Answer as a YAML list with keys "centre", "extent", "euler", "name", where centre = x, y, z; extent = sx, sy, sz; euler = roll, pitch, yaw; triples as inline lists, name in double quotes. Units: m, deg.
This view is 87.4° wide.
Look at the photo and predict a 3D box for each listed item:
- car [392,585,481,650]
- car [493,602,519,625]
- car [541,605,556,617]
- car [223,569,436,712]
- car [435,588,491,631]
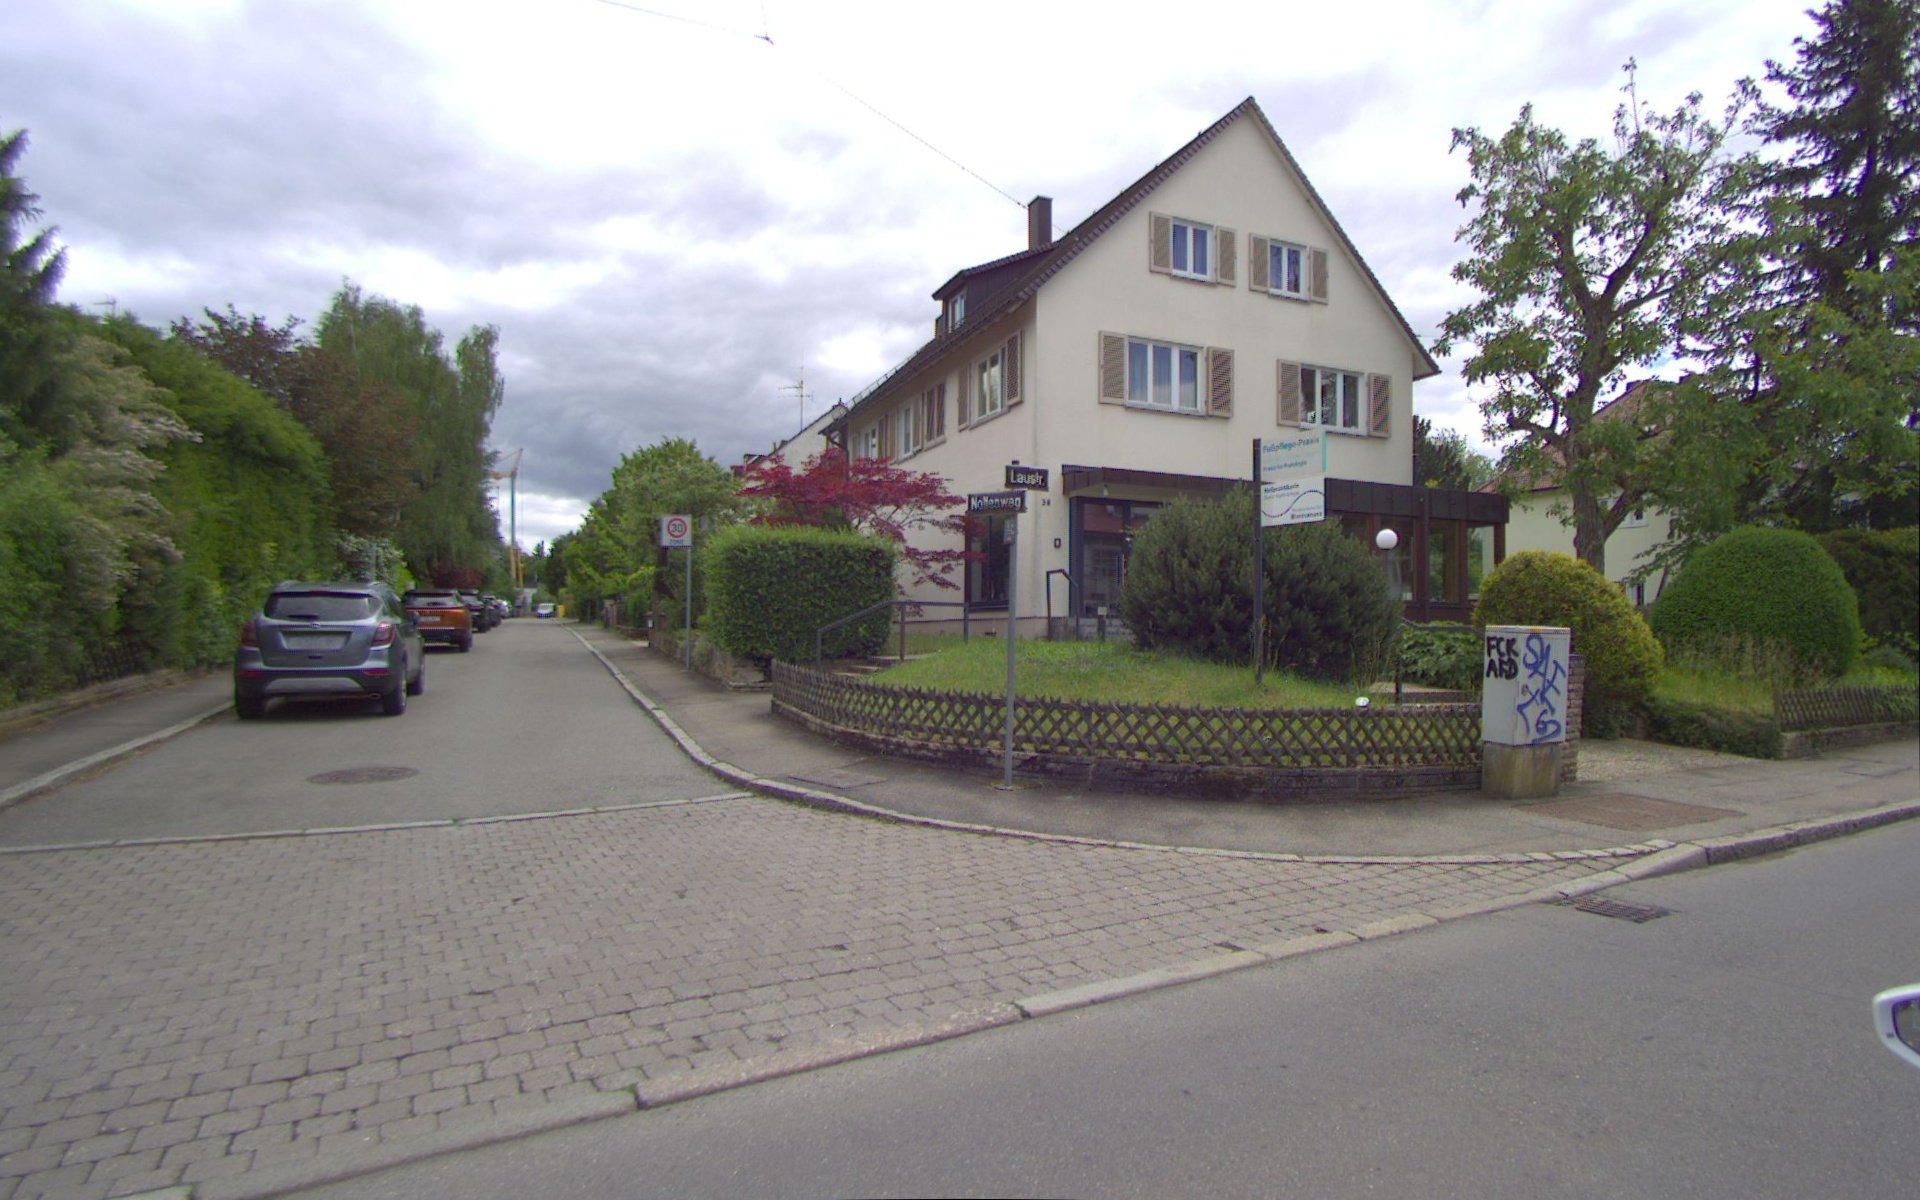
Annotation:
- centre: [-13.216, 0.407, 25.541]
  extent: [1.720, 1.507, 3.976]
  euler: [1, 0, -24]
  name: "car"
- centre: [-33.882, 1.013, 74.966]
  extent: [1.720, 1.507, 3.977]
  euler: [1, -3, -24]
  name: "car"
- centre: [-53.625, 1.391, 130.866]
  extent: [1.720, 1.507, 3.976]
  euler: [1, 0, -24]
  name: "car"
- centre: [-8.273, 0.463, 13.551]
  extent: [1.851, 1.619, 3.976]
  euler: [1, 0, -24]
  name: "car"
- centre: [-18.890, 0.348, 38.288]
  extent: [1.720, 1.540, 3.976]
  euler: [1, 0, -24]
  name: "car"
